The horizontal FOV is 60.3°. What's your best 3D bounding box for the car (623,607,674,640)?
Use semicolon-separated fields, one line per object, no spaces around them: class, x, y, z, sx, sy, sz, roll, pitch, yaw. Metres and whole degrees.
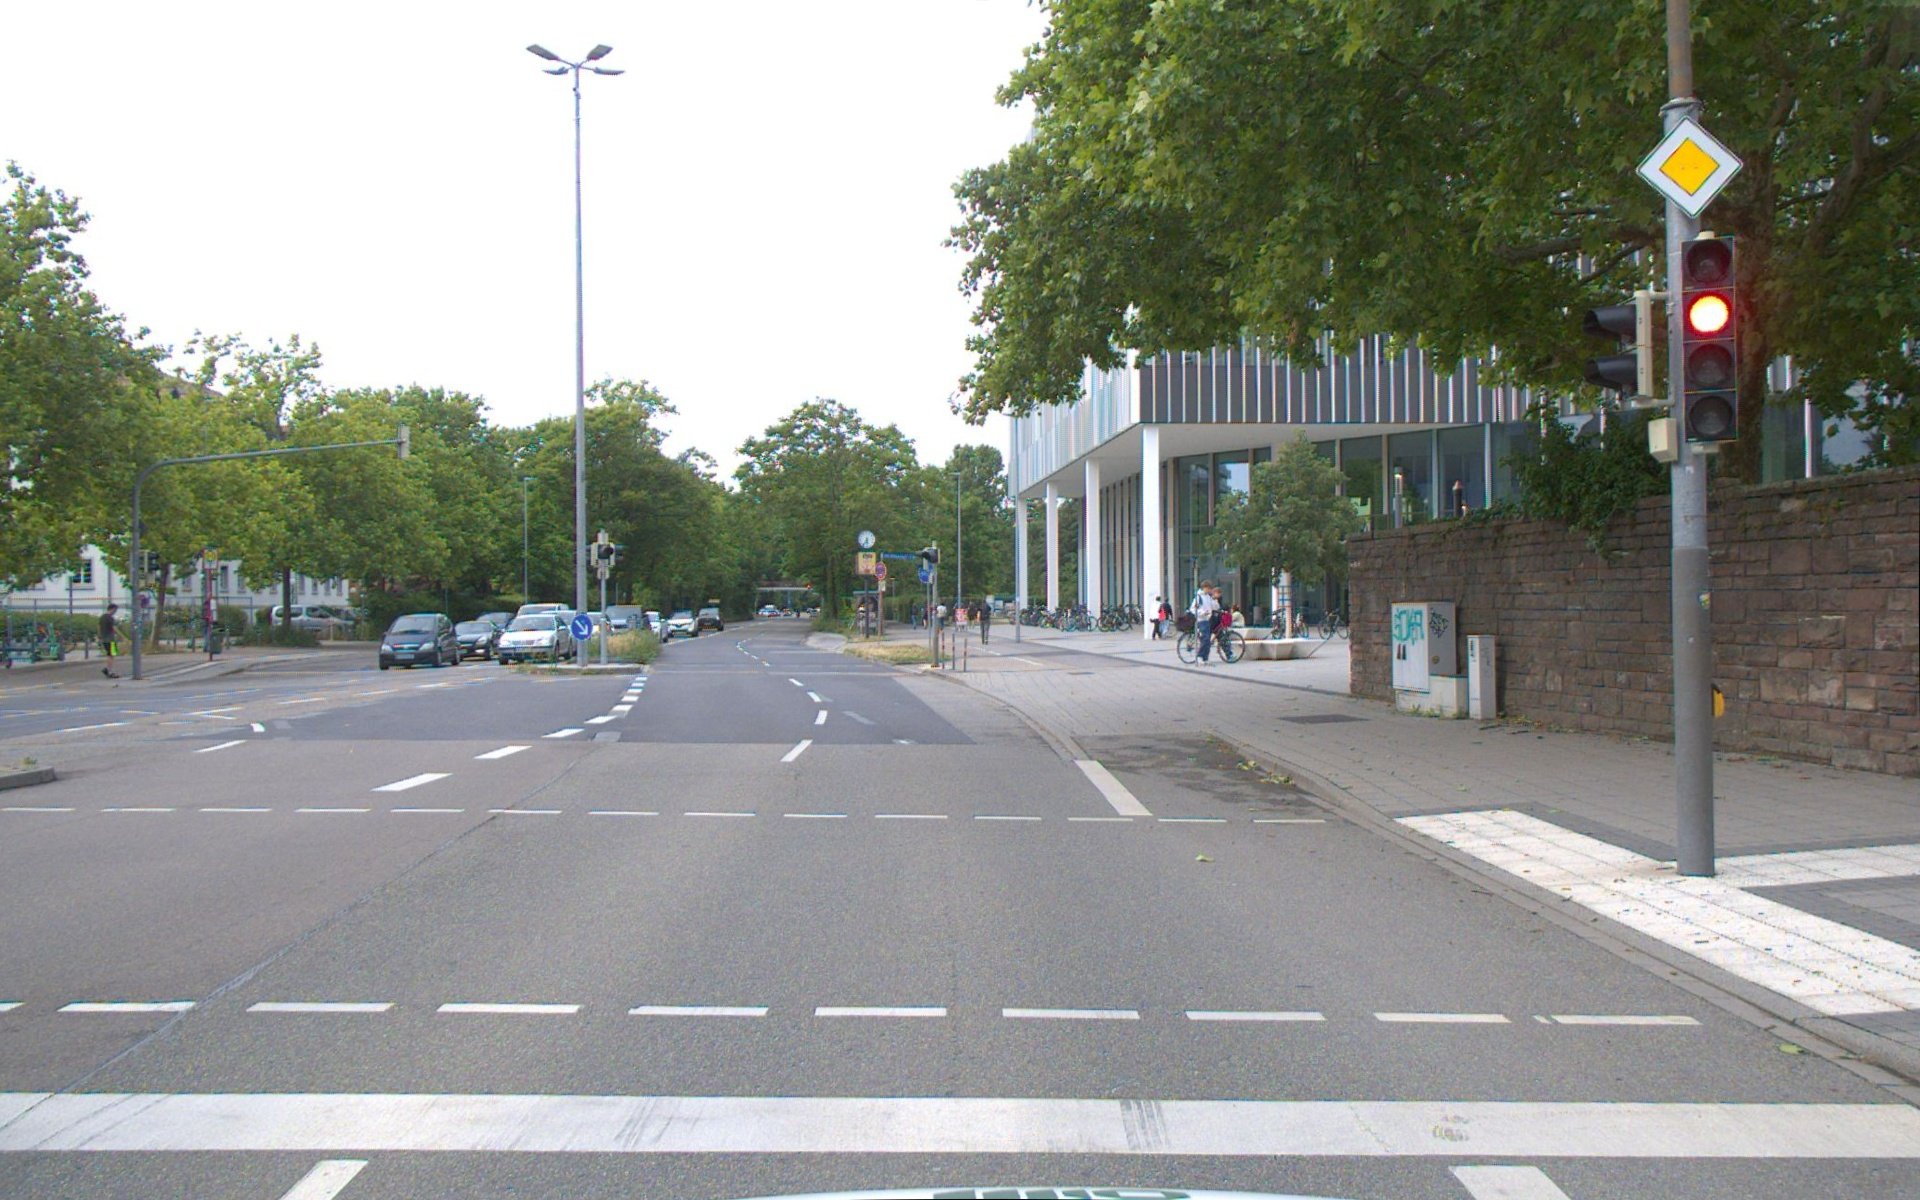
car;-14.943;1.116;79.621;1.866;1.491;4.906;1;0;-5

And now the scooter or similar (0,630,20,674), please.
scooter or similar;-25.370;1.375;43.741;0.353;1.160;1.318;-1;0;-4

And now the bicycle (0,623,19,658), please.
bicycle;-33.163;1.402;56.148;2.002;1.173;0.716;-1;0;-23

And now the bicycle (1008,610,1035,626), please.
bicycle;3.856;1.127;103.703;1.575;0.890;0.556;-2;0;-4

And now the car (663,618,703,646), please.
car;-16.626;1.907;99.367;1.955;1.574;4.175;-2;0;-5

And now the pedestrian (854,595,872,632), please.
pedestrian;-5.551;0.761;94.666;0.895;2.048;0.853;-3;2;-6

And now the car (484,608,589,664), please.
car;-12.731;1.052;49.972;1.952;1.556;4.275;-1;0;2

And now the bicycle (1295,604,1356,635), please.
bicycle;12.656;0.678;57.212;2.166;1.024;0.772;-1;-3;-35

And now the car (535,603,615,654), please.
car;-13.629;0.976;58.824;1.918;1.611;4.254;-2;1;-2

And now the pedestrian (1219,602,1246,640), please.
pedestrian;9.038;0.690;54.896;0.872;1.214;0.846;-1;0;9

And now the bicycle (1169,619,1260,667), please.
bicycle;5.864;0.984;38.132;1.936;1.036;0.793;1;0;36

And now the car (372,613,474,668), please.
car;-15.827;1.174;48.918;1.815;1.489;3.696;-1;0;-1

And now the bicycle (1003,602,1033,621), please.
bicycle;3.735;0.741;106.660;1.760;1.100;0.625;-3;0;-7

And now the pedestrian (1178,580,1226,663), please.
pedestrian;5.442;0.477;37.238;0.768;1.827;0.786;-1;-1;38

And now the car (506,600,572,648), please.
car;-17.282;0.970;68.013;1.736;1.880;4.486;1;0;-3

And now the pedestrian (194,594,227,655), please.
pedestrian;-25.697;0.838;56.694;0.787;2.049;0.923;1;-1;-11

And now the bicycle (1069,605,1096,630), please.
bicycle;5.675;0.800;76.783;0.598;1.099;1.954;-3;0;-16

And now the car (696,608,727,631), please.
car;-18.172;1.396;121.127;1.866;1.621;4.512;-1;0;-5

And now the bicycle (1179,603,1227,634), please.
bicycle;9.207;0.702;62.643;0.723;1.135;2.170;-1;0;42

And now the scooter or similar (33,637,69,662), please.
scooter or similar;-27.309;1.490;49.706;0.398;0.706;1.288;1;0;-2

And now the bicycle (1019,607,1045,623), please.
bicycle;4.452;0.932;102.147;1.575;0.890;0.556;-2;0;-4

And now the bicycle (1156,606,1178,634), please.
bicycle;8.098;0.772;64.700;0.625;1.080;1.840;1;0;0

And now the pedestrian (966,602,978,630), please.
pedestrian;0.720;0.994;102.185;0.714;1.713;0.747;1;-1;-1

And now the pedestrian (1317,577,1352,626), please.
pedestrian;16.396;0.077;72.414;1.160;2.098;1.132;1;-1;33

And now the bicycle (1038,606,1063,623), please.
bicycle;4.943;0.783;90.103;1.258;0.890;0.556;-2;0;-4

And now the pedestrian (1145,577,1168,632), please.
pedestrian;7.444;0.165;62.704;0.634;2.049;0.654;-1;0;-14

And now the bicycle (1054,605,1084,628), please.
bicycle;5.467;0.823;83.176;1.373;1.062;0.558;-3;0;-4

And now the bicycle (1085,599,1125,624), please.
bicycle;7.491;0.600;85.594;1.948;1.164;0.646;-3;0;37

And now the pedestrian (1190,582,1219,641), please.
pedestrian;8.665;0.407;58.620;0.826;2.049;0.894;-1;0;-3

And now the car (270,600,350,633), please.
car;-33.631;0.847;85.607;3.517;1.630;1.649;1;0;-7

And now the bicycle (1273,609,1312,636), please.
bicycle;11.828;0.801;58.835;0.659;0.914;1.839;-1;0;36

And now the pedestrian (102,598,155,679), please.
pedestrian;-21.349;0.982;42.477;0.877;2.049;1.008;-1;0;-7

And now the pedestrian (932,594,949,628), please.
pedestrian;-1.194;0.666;101.426;0.907;2.049;1.038;-1;0;-5

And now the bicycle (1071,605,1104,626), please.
bicycle;6.349;0.779;82.383;1.572;0.952;0.569;-3;0;6

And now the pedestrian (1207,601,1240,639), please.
pedestrian;8.646;0.652;54.263;0.826;1.227;0.893;-1;0;29

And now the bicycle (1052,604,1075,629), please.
bicycle;4.966;0.778;79.534;0.624;1.160;2.196;-4;0;-9

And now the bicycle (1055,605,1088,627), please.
bicycle;5.645;0.813;83.762;1.575;0.999;0.556;-4;0;-5

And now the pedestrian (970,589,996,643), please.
pedestrian;0.873;0.610;63.366;0.826;2.049;0.894;-3;0;-3

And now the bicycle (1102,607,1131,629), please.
bicycle;7.122;0.831;75.173;1.477;0.945;0.433;-2;2;-44

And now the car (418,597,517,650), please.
car;-16.355;0.757;55.137;1.952;1.648;4.001;-1;0;2

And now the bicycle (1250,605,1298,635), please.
bicycle;11.324;0.727;59.544;0.761;1.019;1.947;-1;0;43

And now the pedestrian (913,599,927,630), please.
pedestrian;-2.649;0.963;109.837;0.809;2.049;0.719;-1;0;-9

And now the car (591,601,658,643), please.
car;-14.370;0.902;71.105;1.953;1.717;4.946;1;0;-1

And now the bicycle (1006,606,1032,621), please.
bicycle;3.758;0.827;104.659;1.575;0.890;0.556;-2;0;-4

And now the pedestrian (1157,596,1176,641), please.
pedestrian;7.738;0.685;61.908;0.661;1.670;0.654;-1;0;8

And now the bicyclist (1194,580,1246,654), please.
bicyclist;5.980;0.381;38.061;0.950;1.674;0.733;1;-1;35
